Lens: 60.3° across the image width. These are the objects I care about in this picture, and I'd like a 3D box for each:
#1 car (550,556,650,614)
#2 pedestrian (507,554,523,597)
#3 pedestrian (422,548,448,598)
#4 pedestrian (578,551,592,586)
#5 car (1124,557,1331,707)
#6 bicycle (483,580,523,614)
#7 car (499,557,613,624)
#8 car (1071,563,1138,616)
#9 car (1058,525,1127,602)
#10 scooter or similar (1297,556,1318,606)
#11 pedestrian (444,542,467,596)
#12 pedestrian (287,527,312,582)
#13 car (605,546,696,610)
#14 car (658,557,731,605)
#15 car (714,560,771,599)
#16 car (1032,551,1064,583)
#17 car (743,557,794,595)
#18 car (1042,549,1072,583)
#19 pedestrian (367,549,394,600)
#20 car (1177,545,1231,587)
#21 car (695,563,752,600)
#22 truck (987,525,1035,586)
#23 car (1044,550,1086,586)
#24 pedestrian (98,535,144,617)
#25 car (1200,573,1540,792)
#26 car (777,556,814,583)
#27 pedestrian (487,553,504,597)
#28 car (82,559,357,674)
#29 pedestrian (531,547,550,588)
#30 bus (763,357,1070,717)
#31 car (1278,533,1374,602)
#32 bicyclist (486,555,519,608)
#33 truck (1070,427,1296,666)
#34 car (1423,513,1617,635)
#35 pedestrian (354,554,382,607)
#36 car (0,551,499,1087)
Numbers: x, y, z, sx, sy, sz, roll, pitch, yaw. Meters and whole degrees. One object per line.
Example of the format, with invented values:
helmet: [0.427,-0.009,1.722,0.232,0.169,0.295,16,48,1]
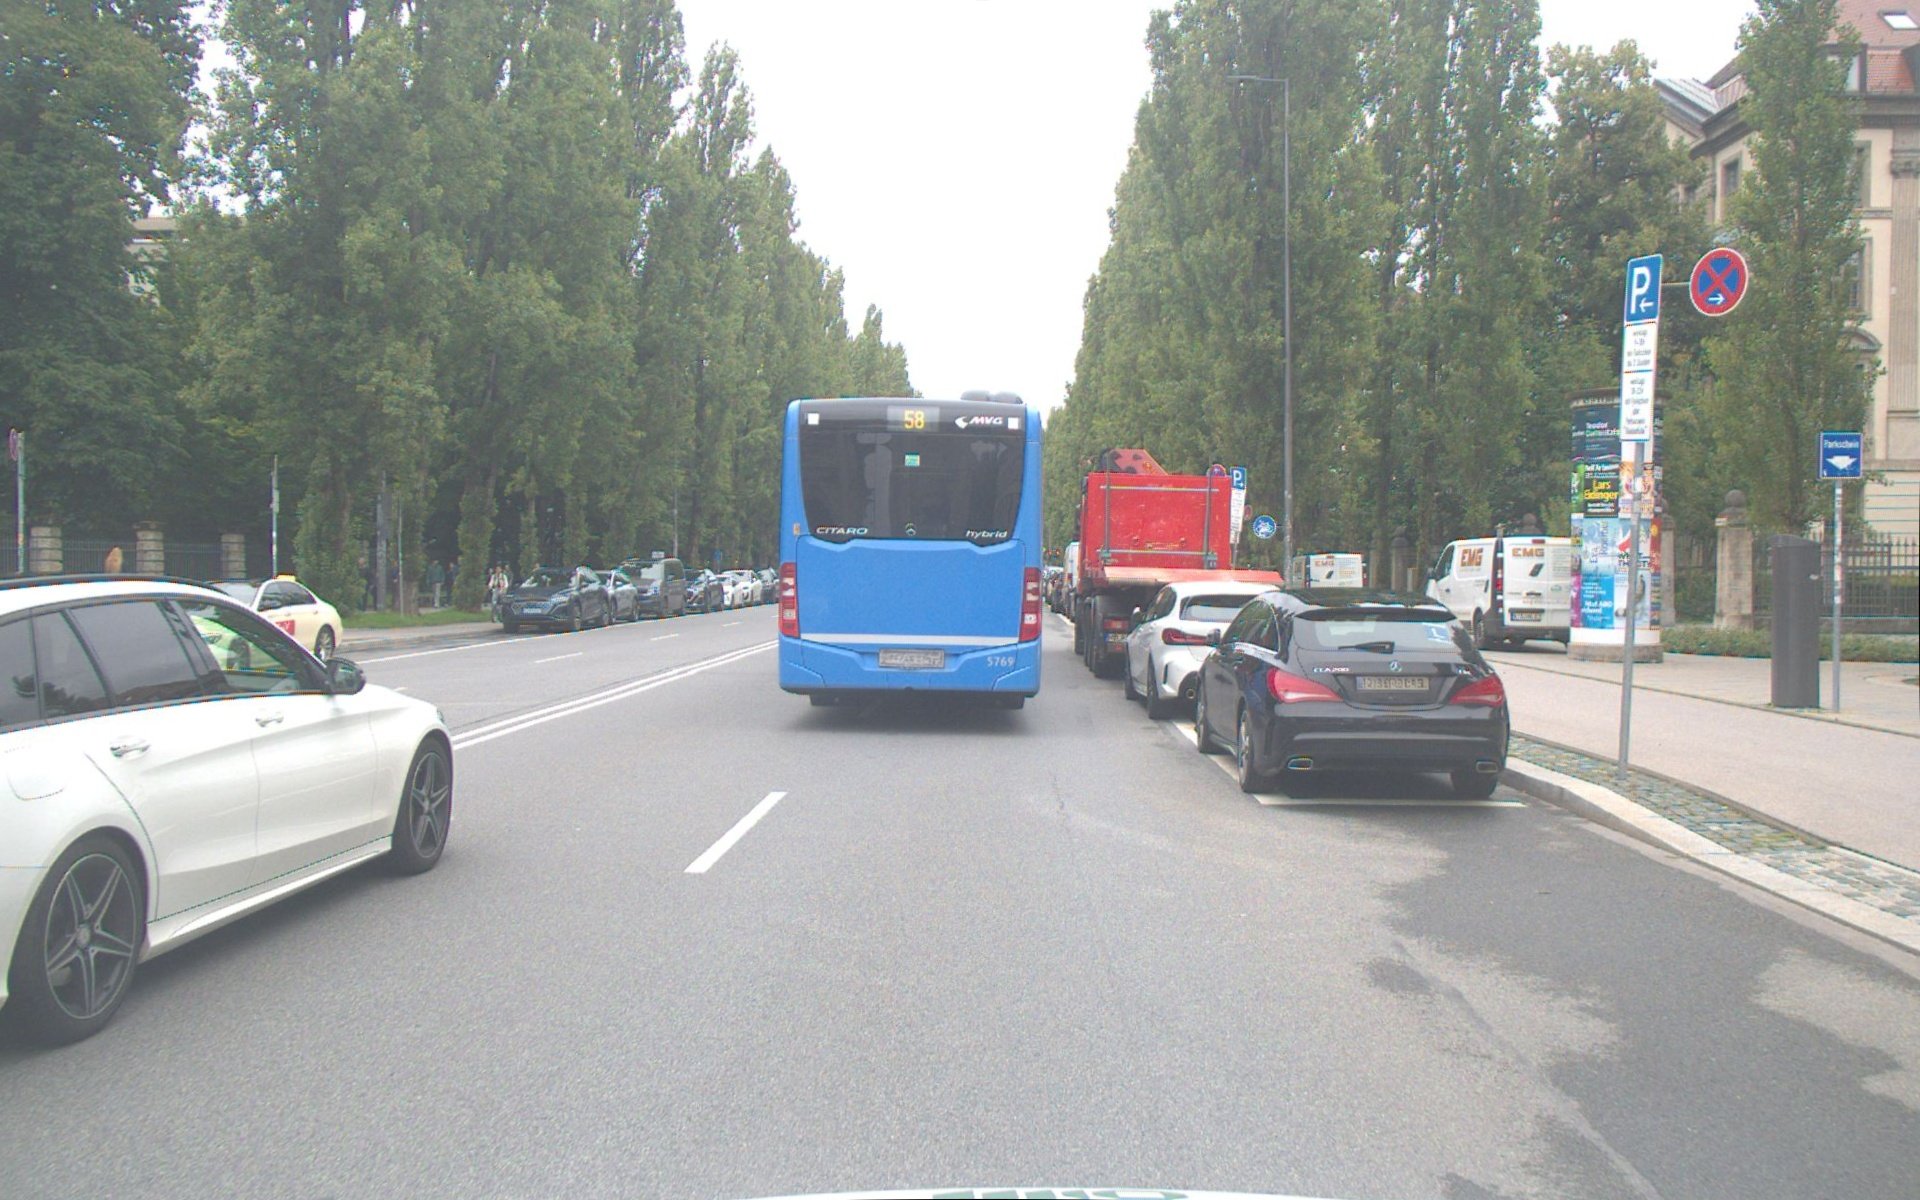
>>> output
car: [-10.791,-0.494,49.859,1.851,1.612,4.656,-1,1,1]
pedestrian: [-17.917,-0.991,66.583,0.498,1.737,0.570,0,1,2]
pedestrian: [-19.874,-1.037,62.656,0.731,1.886,0.757,0,1,2]
pedestrian: [-19.014,-1.613,83.830,0.538,1.778,0.673,0,1,1]
car: [2.892,0.269,18.704,1.751,1.485,4.219,1,2,2]
bicycle: [-13.347,-0.104,48.358,0.693,0.955,1.735,0,1,0]
car: [-10.746,-0.312,44.341,1.745,1.623,4.615,-2,2,2]
car: [4.348,-0.353,50.184,1.718,1.475,4.001,2,2,1]
car: [4.541,-1.290,57.613,2.031,2.522,6.286,1,1,1]
scooter or similar: [9.162,-0.511,43.632,0.329,1.287,1.186,0,1,2]
pedestrian: [-19.159,-1.185,62.832,0.652,2.048,0.639,0,1,1]
pedestrian: [-24.833,-1.707,62.197,0.683,2.048,0.561,0,1,1]
car: [-10.441,-0.788,56.162,1.952,1.990,4.939,-2,2,1]
car: [-10.020,-0.749,62.788,1.778,1.636,5.054,-3,1,2]
car: [-9.737,-0.953,74.324,1.748,1.616,4.463,-2,2,2]
car: [5.805,-2.213,109.158,2.010,2.048,5.695,0,2,2]
car: [-9.295,-1.187,80.609,1.841,1.687,4.719,-3,2,1]
car: [5.893,-2.081,101.062,1.768,2.010,4.238,0,1,2]
pedestrian: [-20.119,-0.884,57.420,0.653,1.752,0.733,0,1,3]
car: [12.001,-1.685,81.729,1.952,1.959,5.325,0,1,1]
car: [-9.897,-0.786,69.427,1.641,1.447,4.239,-2,1,1]
truck: [2.532,-2.223,83.406,2.279,2.948,7.335,0,1,1]
car: [4.948,-1.538,78.146,1.744,1.609,4.148,2,1,1]
pedestrian: [-18.051,-0.525,35.589,0.570,1.750,0.787,0,1,0]
car: [2.912,0.489,12.665,1.699,1.333,4.372,0,2,3]
car: [-9.412,-1.741,94.749,1.650,1.437,4.005,-2,1,1]
pedestrian: [-18.667,-1.012,66.533,0.498,1.737,0.570,0,1,2]
car: [-11.296,0.176,25.666,1.890,1.523,4.793,-1,2,3]
pedestrian: [-18.208,-1.416,71.768,0.596,1.787,0.757,0,1,0]
bus: [-0.445,-0.691,19.659,2.797,3.269,9.059,0,1,-1]
car: [10.977,-0.993,49.957,1.952,1.980,5.085,0,1,2]
bicyclist: [-13.353,-0.556,48.317,0.679,1.524,0.862,-1,1,0]
truck: [3.319,-0.847,27.222,2.657,3.164,10.431,0,1,2]
car: [10.011,-0.501,29.989,1.842,1.978,4.886,1,2,0]
pedestrian: [-19.185,-0.642,53.602,0.605,1.688,0.705,0,1,3]
car: [-3.432,0.554,6.368,1.787,1.480,4.585,1,1,3]
